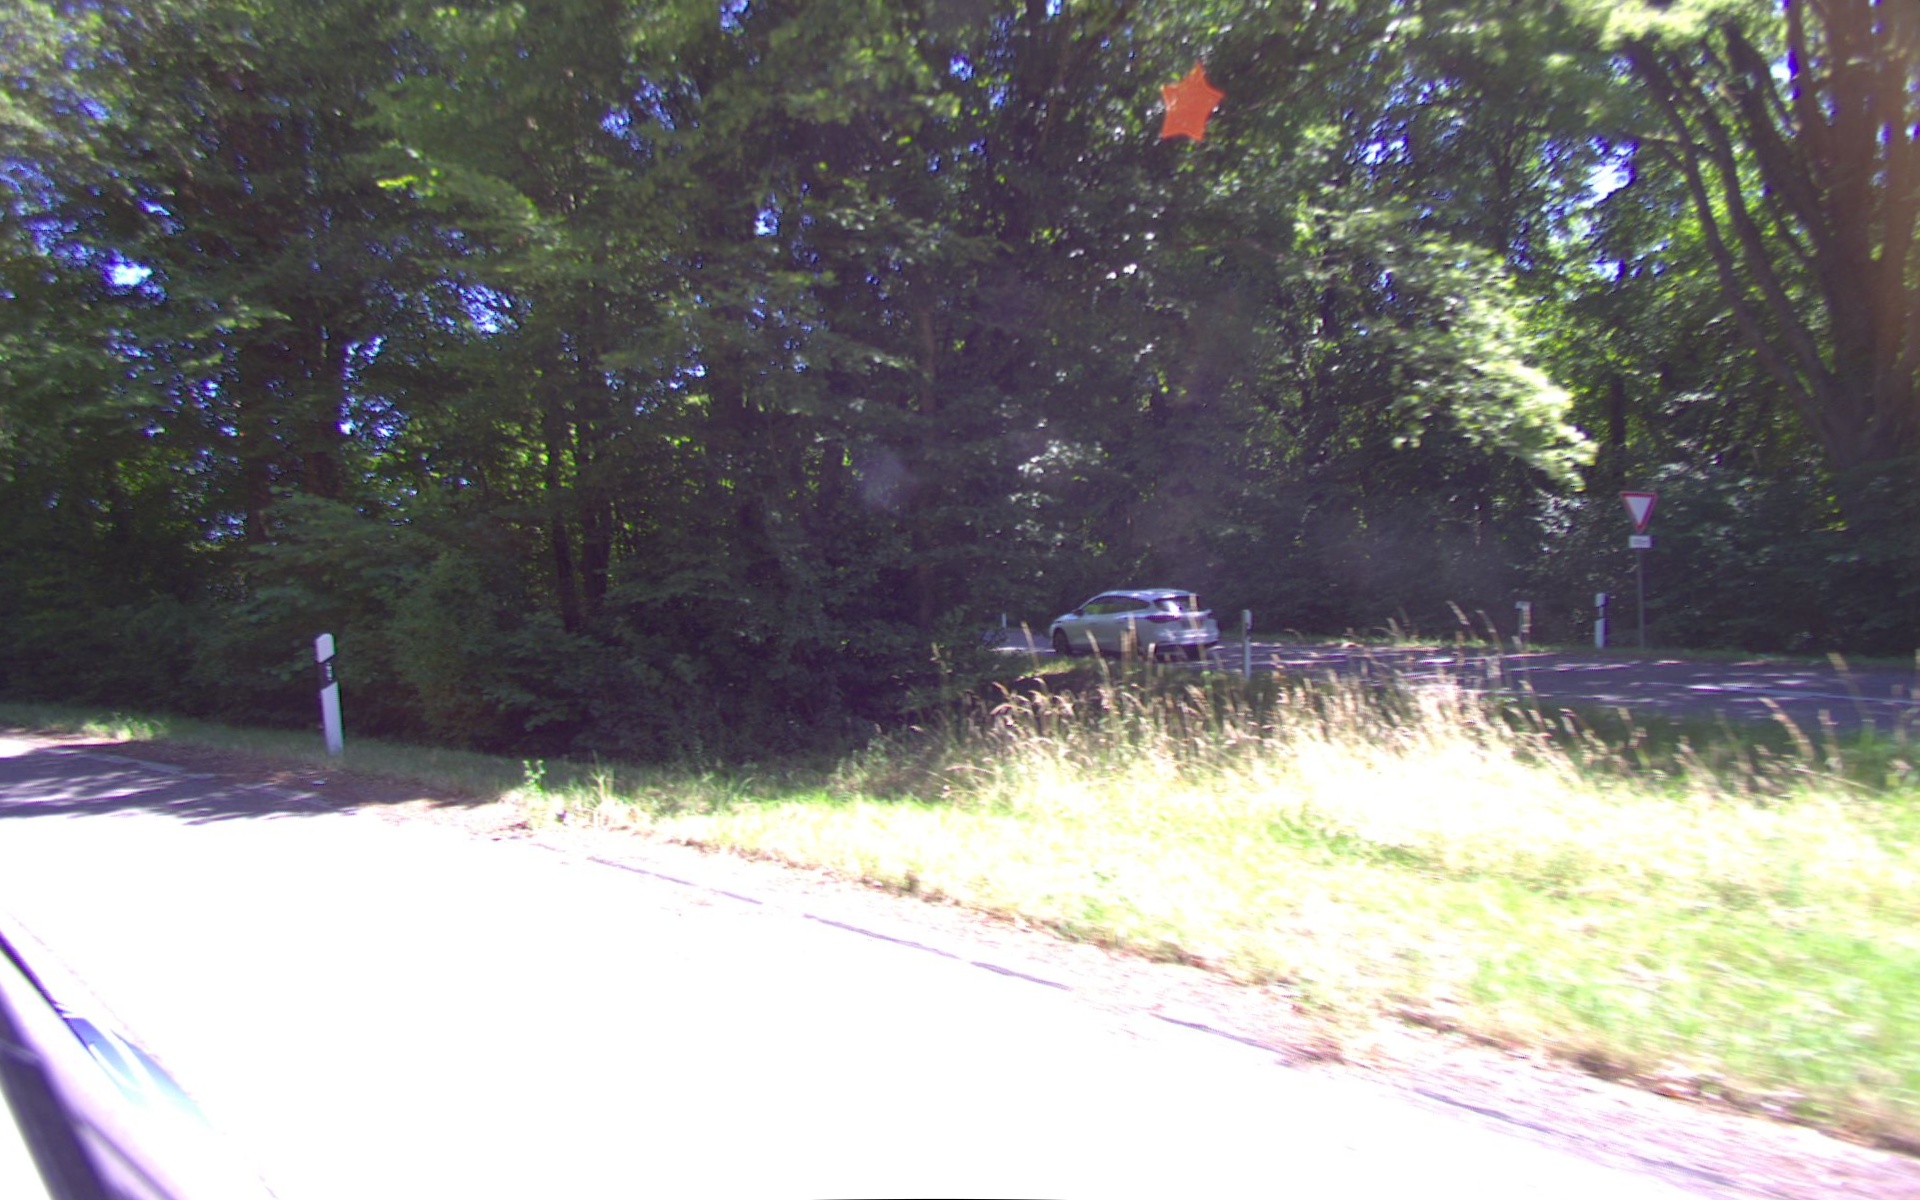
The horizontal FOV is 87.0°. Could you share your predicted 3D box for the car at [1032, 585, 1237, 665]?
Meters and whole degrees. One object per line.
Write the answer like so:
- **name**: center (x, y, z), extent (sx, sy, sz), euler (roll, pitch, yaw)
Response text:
- **car**: center (3.615, 0.550, 22.024), extent (1.731, 1.463, 4.885), euler (-3, 0, -28)
